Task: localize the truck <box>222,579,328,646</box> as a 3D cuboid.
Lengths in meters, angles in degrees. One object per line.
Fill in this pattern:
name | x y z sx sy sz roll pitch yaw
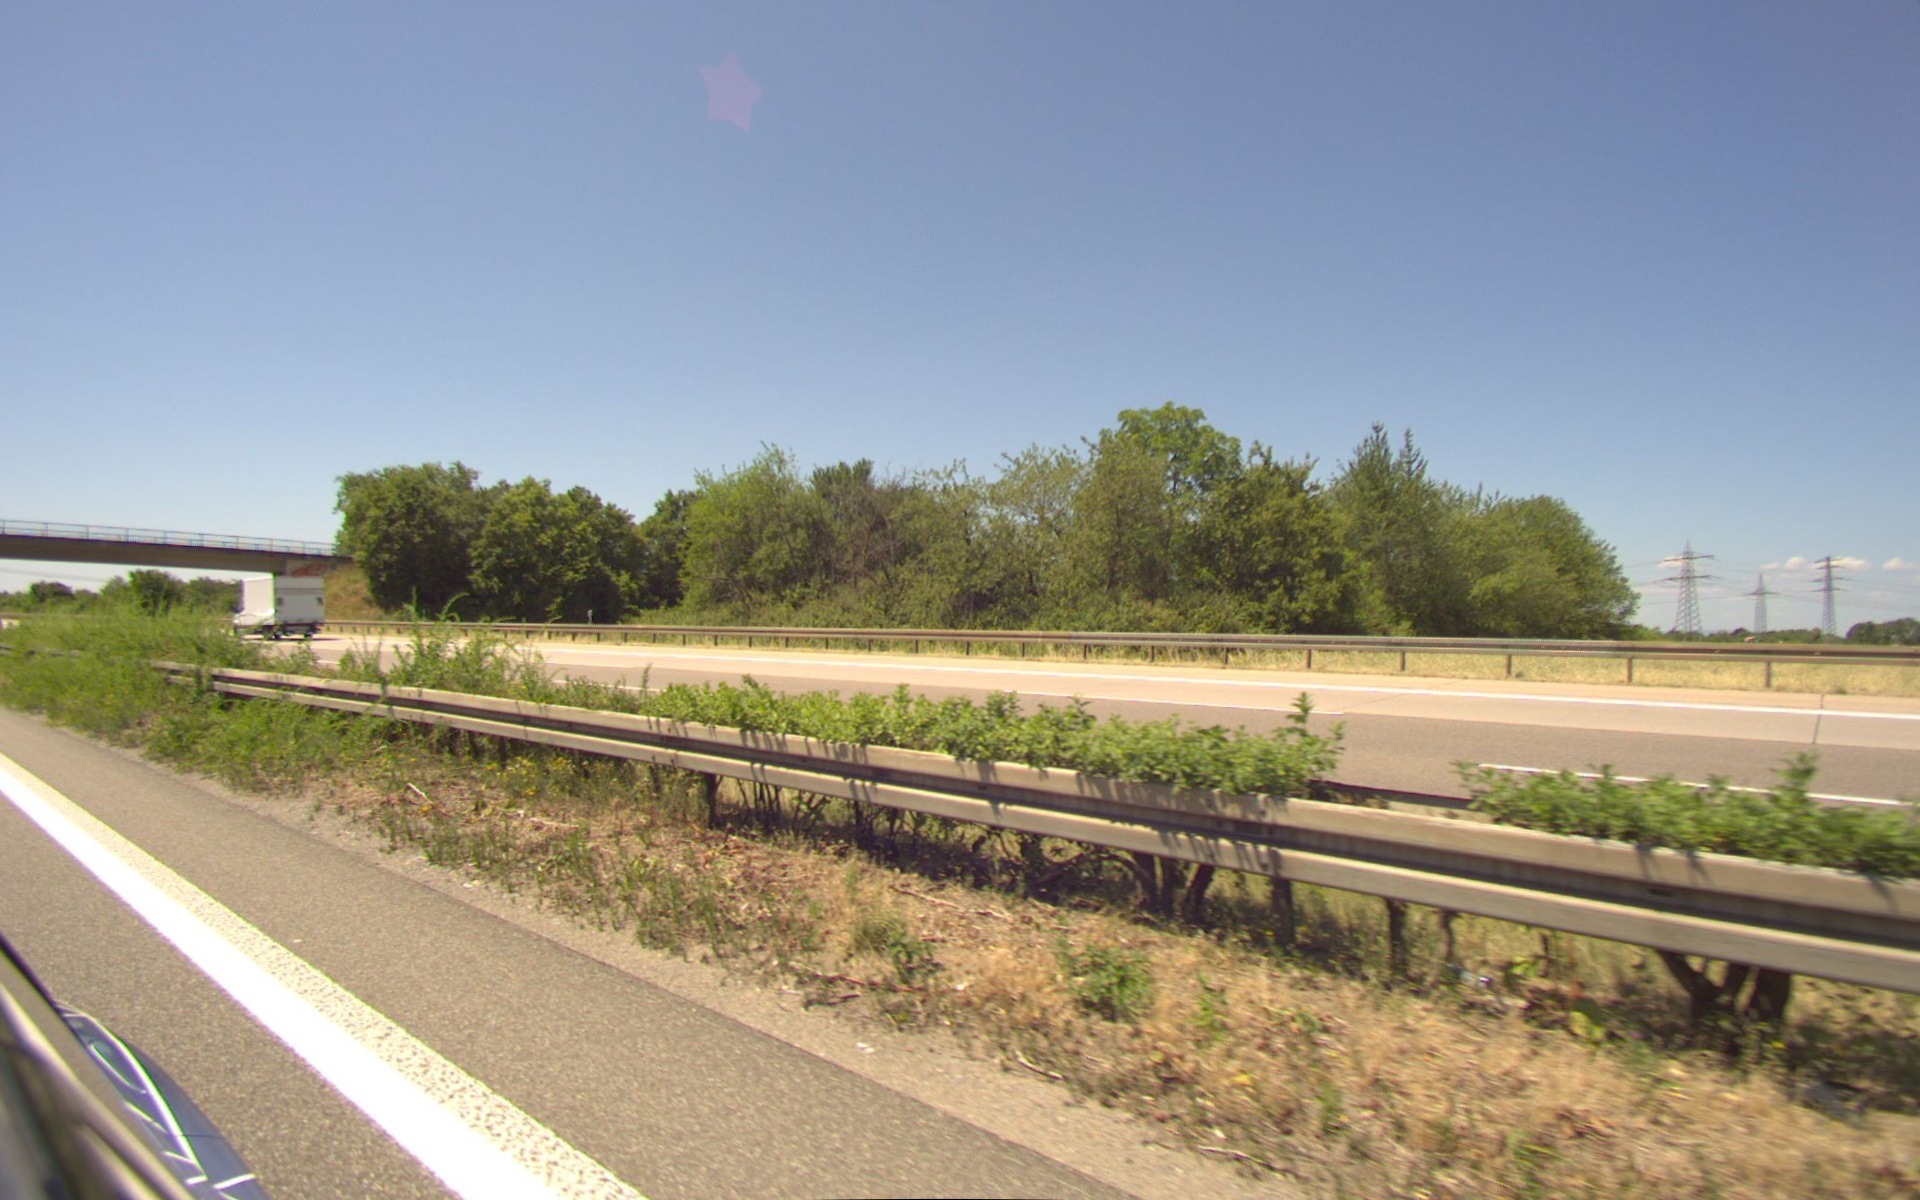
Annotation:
truck | -34.010 0.619 50.167 6.982 3.122 2.427 -1 -1 39
